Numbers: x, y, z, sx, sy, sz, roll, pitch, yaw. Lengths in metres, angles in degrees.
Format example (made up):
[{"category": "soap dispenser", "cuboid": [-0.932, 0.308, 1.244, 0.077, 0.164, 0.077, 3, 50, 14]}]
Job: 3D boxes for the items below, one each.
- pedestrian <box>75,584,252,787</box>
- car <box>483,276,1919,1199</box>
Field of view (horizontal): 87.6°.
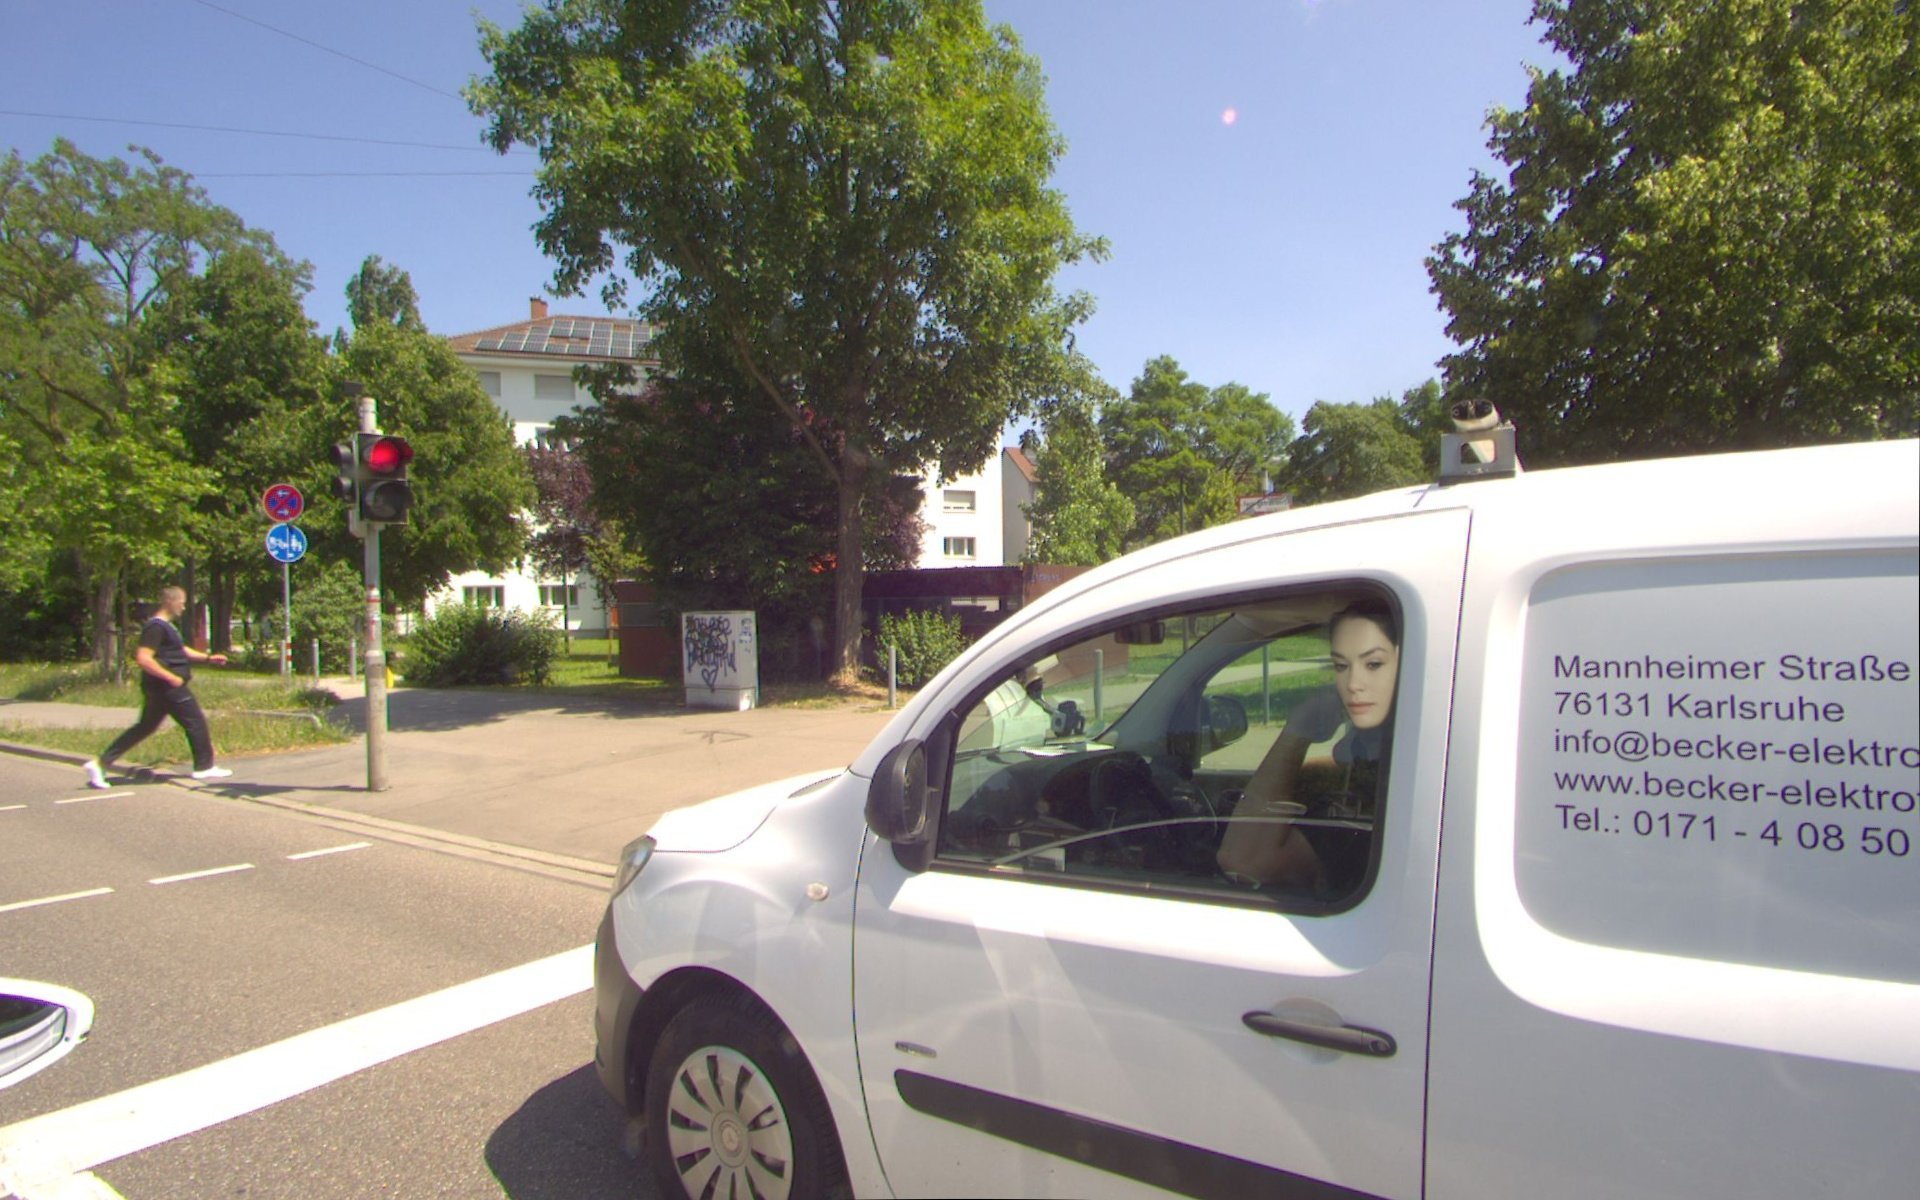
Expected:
[{"category": "pedestrian", "cuboid": [-7.534, 0.778, 9.548, 1.170, 1.800, 0.836, 0, -2, -27]}, {"category": "car", "cuboid": [1.126, 0.573, 2.296, 4.384, 1.850, 1.990, -1, 0, 32]}]
